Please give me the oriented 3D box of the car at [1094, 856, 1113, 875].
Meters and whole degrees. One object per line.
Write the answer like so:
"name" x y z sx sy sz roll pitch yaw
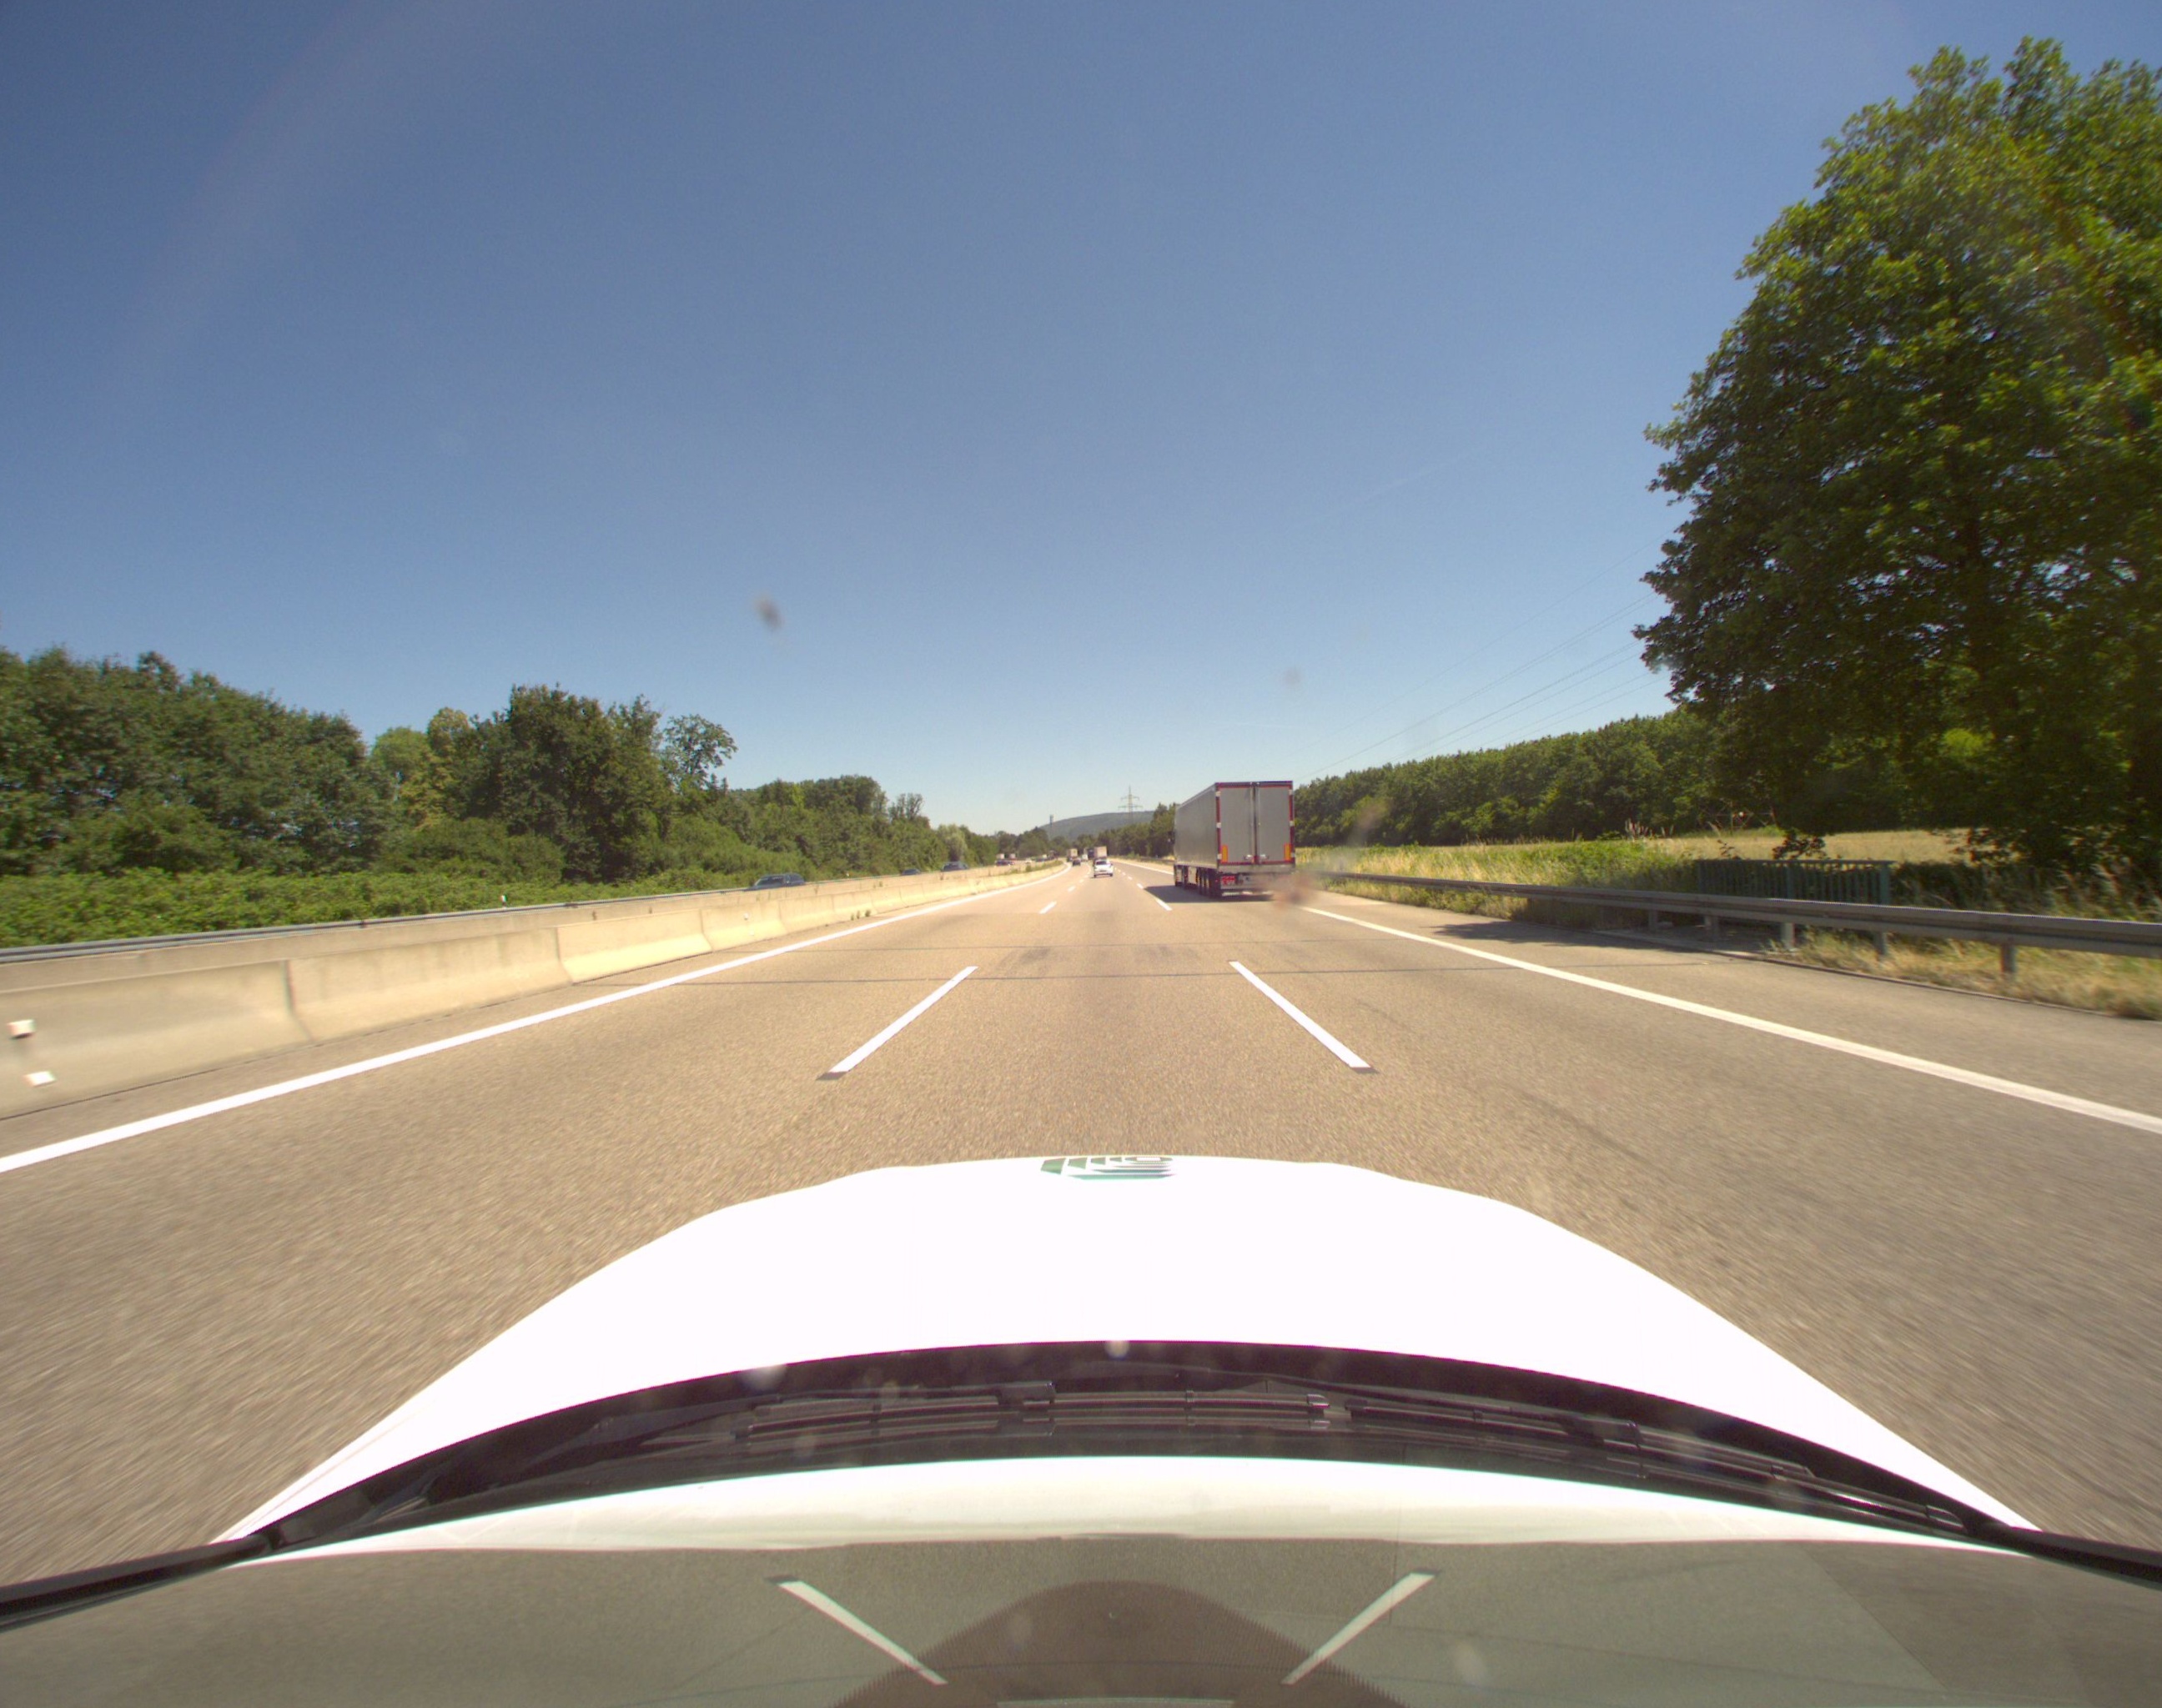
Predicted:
"car" 1.983 1.001 72.915 1.635 1.662 3.361 -1 0 2

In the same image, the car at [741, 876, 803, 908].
"car" -15.731 1.919 41.602 1.624 1.418 3.525 -2 0 2

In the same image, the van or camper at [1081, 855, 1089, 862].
"van or camper" 1.167 1.321 242.547 1.863 1.837 3.995 -5 0 -3

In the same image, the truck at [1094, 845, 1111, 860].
"truck" 5.977 -0.413 231.401 3.810 3.889 14.143 -5 0 -1

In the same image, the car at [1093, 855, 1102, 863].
"car" 3.477 1.045 175.836 1.606 1.725 3.571 -5 0 -2

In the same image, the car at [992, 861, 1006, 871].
"car" -14.070 2.012 139.873 1.794 1.670 4.218 -3 -1 1

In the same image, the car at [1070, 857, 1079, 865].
"car" -1.376 1.600 178.963 2.016 1.700 3.998 0 0 -1

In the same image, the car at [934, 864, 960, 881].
"car" -12.016 1.649 73.104 1.554 1.418 3.524 -2 0 2

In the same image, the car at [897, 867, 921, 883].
"car" -18.718 2.235 88.687 1.697 1.658 4.090 -3 -1 0

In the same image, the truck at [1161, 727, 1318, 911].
"truck" 5.968 -1.161 35.182 3.564 5.787 18.253 -2 0 2
